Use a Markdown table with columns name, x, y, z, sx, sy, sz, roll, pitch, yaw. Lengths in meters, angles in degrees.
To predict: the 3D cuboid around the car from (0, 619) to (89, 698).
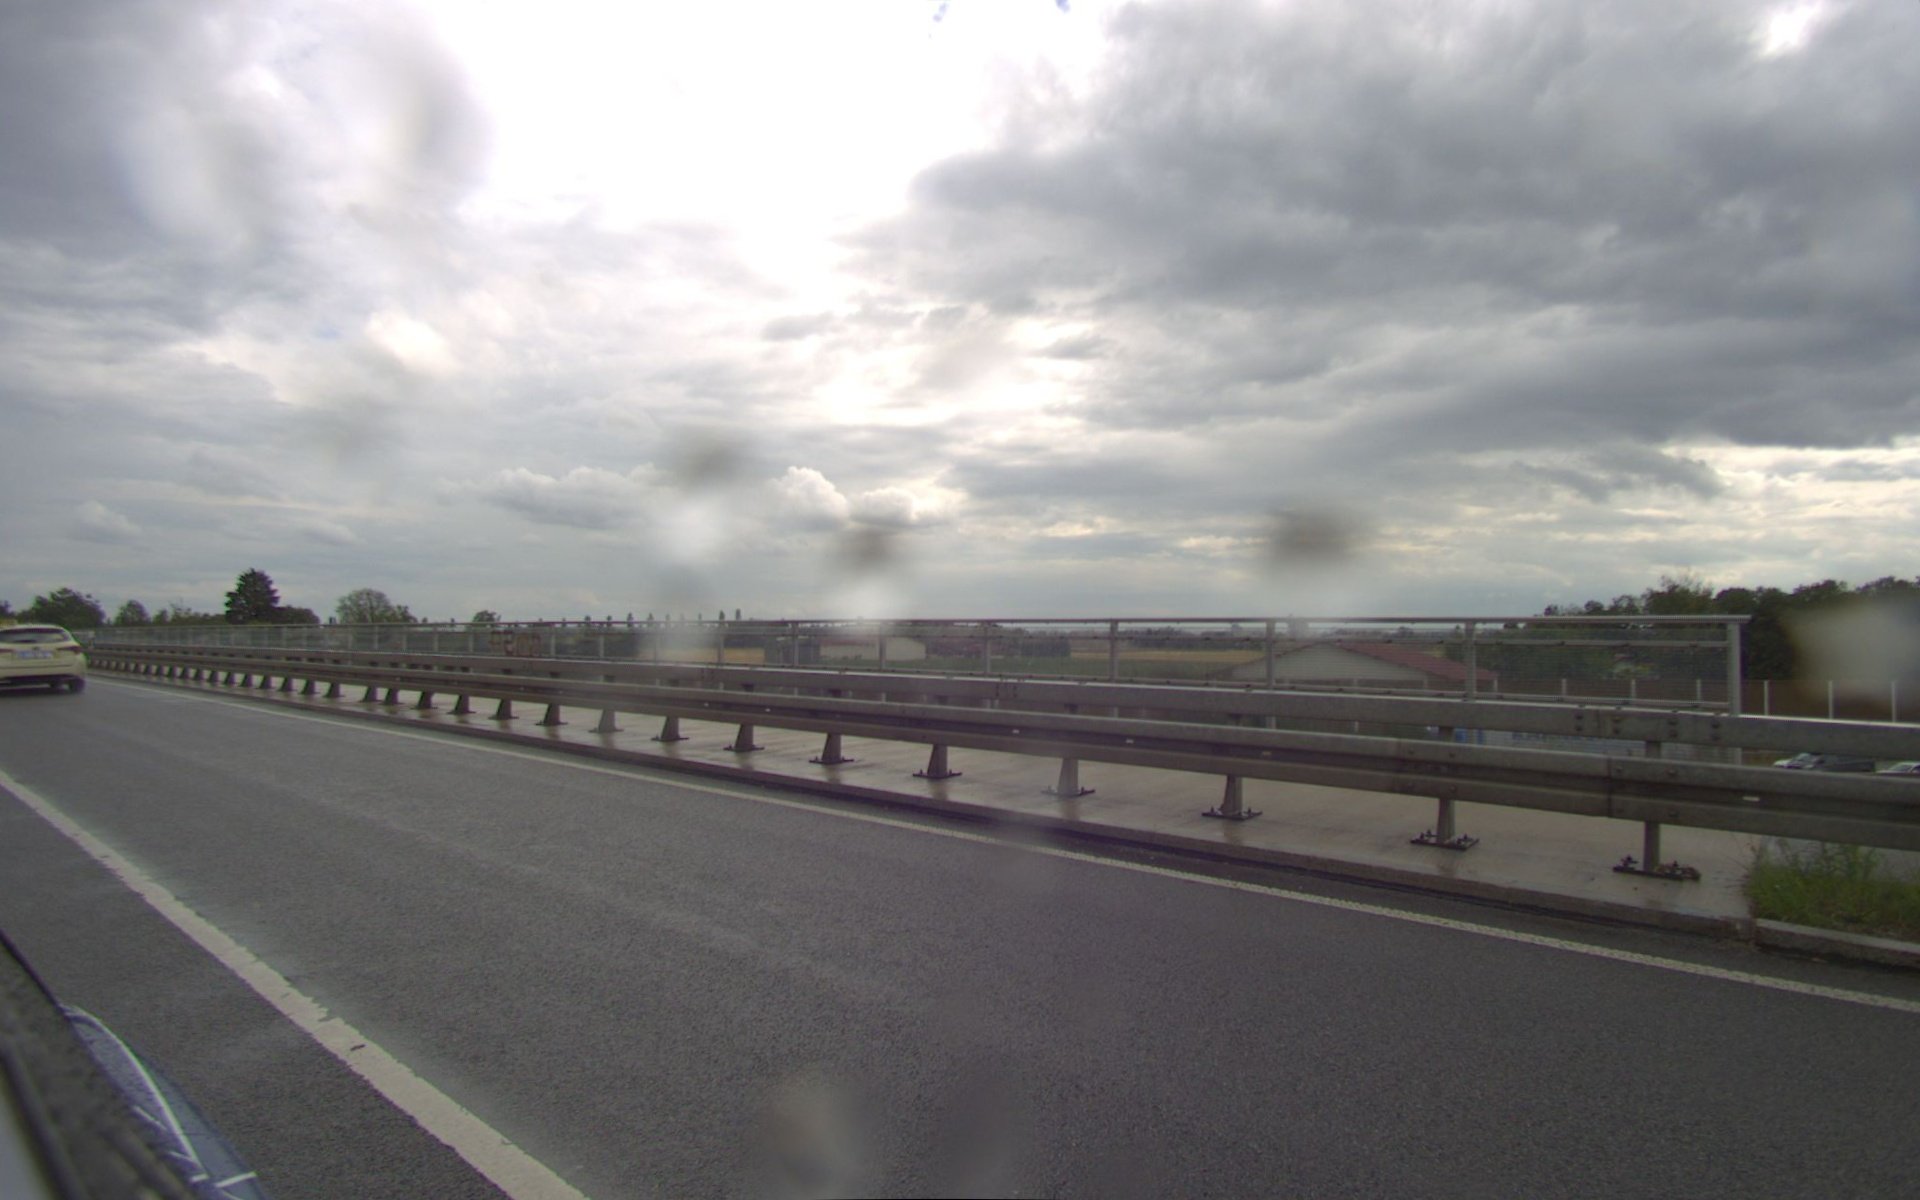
| name | x | y | z | sx | sy | sz | roll | pitch | yaw |
| --- | --- | --- | --- | --- | --- | --- | --- | --- | --- |
| car | -20.239 | 1.218 | 21.672 | 4.608 | 1.521 | 1.791 | -2 | -1 | 41 |

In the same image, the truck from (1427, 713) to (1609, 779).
| name | x | y | z | sx | sy | sz | roll | pitch | yaw |
| --- | --- | --- | --- | --- | --- | --- | --- | --- | --- |
| truck | 37.513 | 9.787 | 68.155 | 11.004 | 3.791 | 2.439 | -1 | -1 | -3 |

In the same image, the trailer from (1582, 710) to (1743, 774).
| name | x | y | z | sx | sy | sz | roll | pitch | yaw |
| --- | --- | --- | --- | --- | --- | --- | --- | --- | --- |
| trailer | 47.631 | 9.581 | 68.690 | 9.318 | 3.791 | 2.439 | -1 | -1 | -3 |
